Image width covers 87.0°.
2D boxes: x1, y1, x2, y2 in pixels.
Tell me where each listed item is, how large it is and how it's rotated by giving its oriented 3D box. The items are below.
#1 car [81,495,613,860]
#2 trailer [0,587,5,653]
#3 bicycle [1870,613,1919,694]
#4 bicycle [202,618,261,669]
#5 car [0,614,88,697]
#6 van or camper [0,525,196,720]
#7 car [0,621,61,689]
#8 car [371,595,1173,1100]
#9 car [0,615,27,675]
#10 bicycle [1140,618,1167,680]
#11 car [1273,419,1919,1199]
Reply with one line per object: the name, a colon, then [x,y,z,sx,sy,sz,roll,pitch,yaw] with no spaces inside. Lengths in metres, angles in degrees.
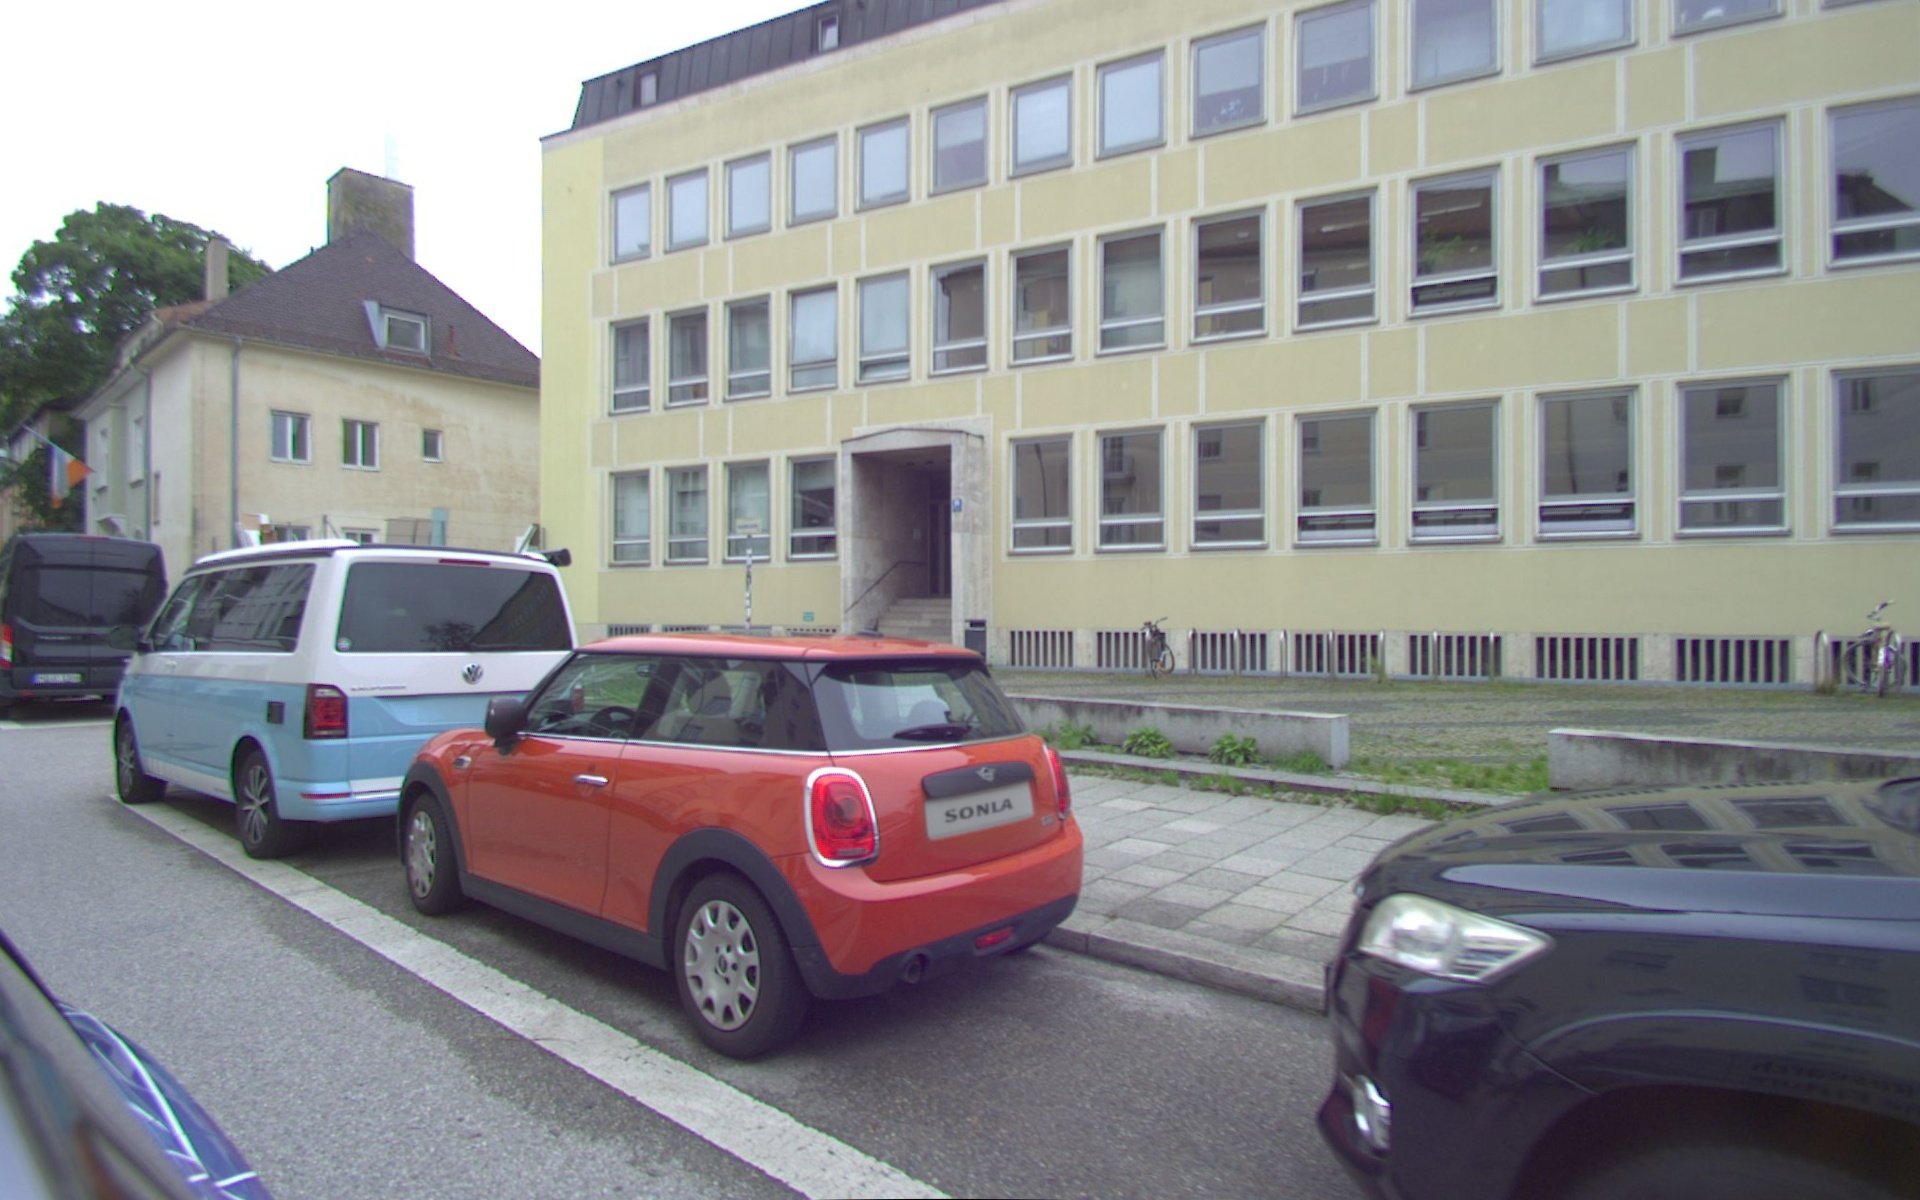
car: [-4.923,0.507,7.795,4.955,1.975,1.896,-2,-3,39]
trailer: [-31.268,0.827,31.517,4.579,2.490,1.953,-1,-4,45]
bicycle: [12.155,0.669,13.114,0.414,0.952,1.394,-1,0,37]
bicycle: [-18.496,1.084,25.673,1.867,1.243,0.794,0,-1,41]
car: [-18.670,1.051,19.834,3.903,1.508,1.637,-1,-3,38]
van or camper: [-14.533,0.389,16.500,5.560,2.671,2.268,-1,-3,43]
car: [-21.999,1.207,22.966,4.281,1.447,1.659,-1,-3,39]
car: [-1.082,0.770,4.768,3.707,1.417,1.786,-2,-4,41]
car: [-26.830,1.203,27.483,5.092,1.553,1.843,-2,-3,44]
bicycle: [3.289,0.814,17.169,0.410,0.952,1.406,-1,0,12]
car: [2.711,0.609,1.219,4.138,1.702,1.697,-2,-3,41]
